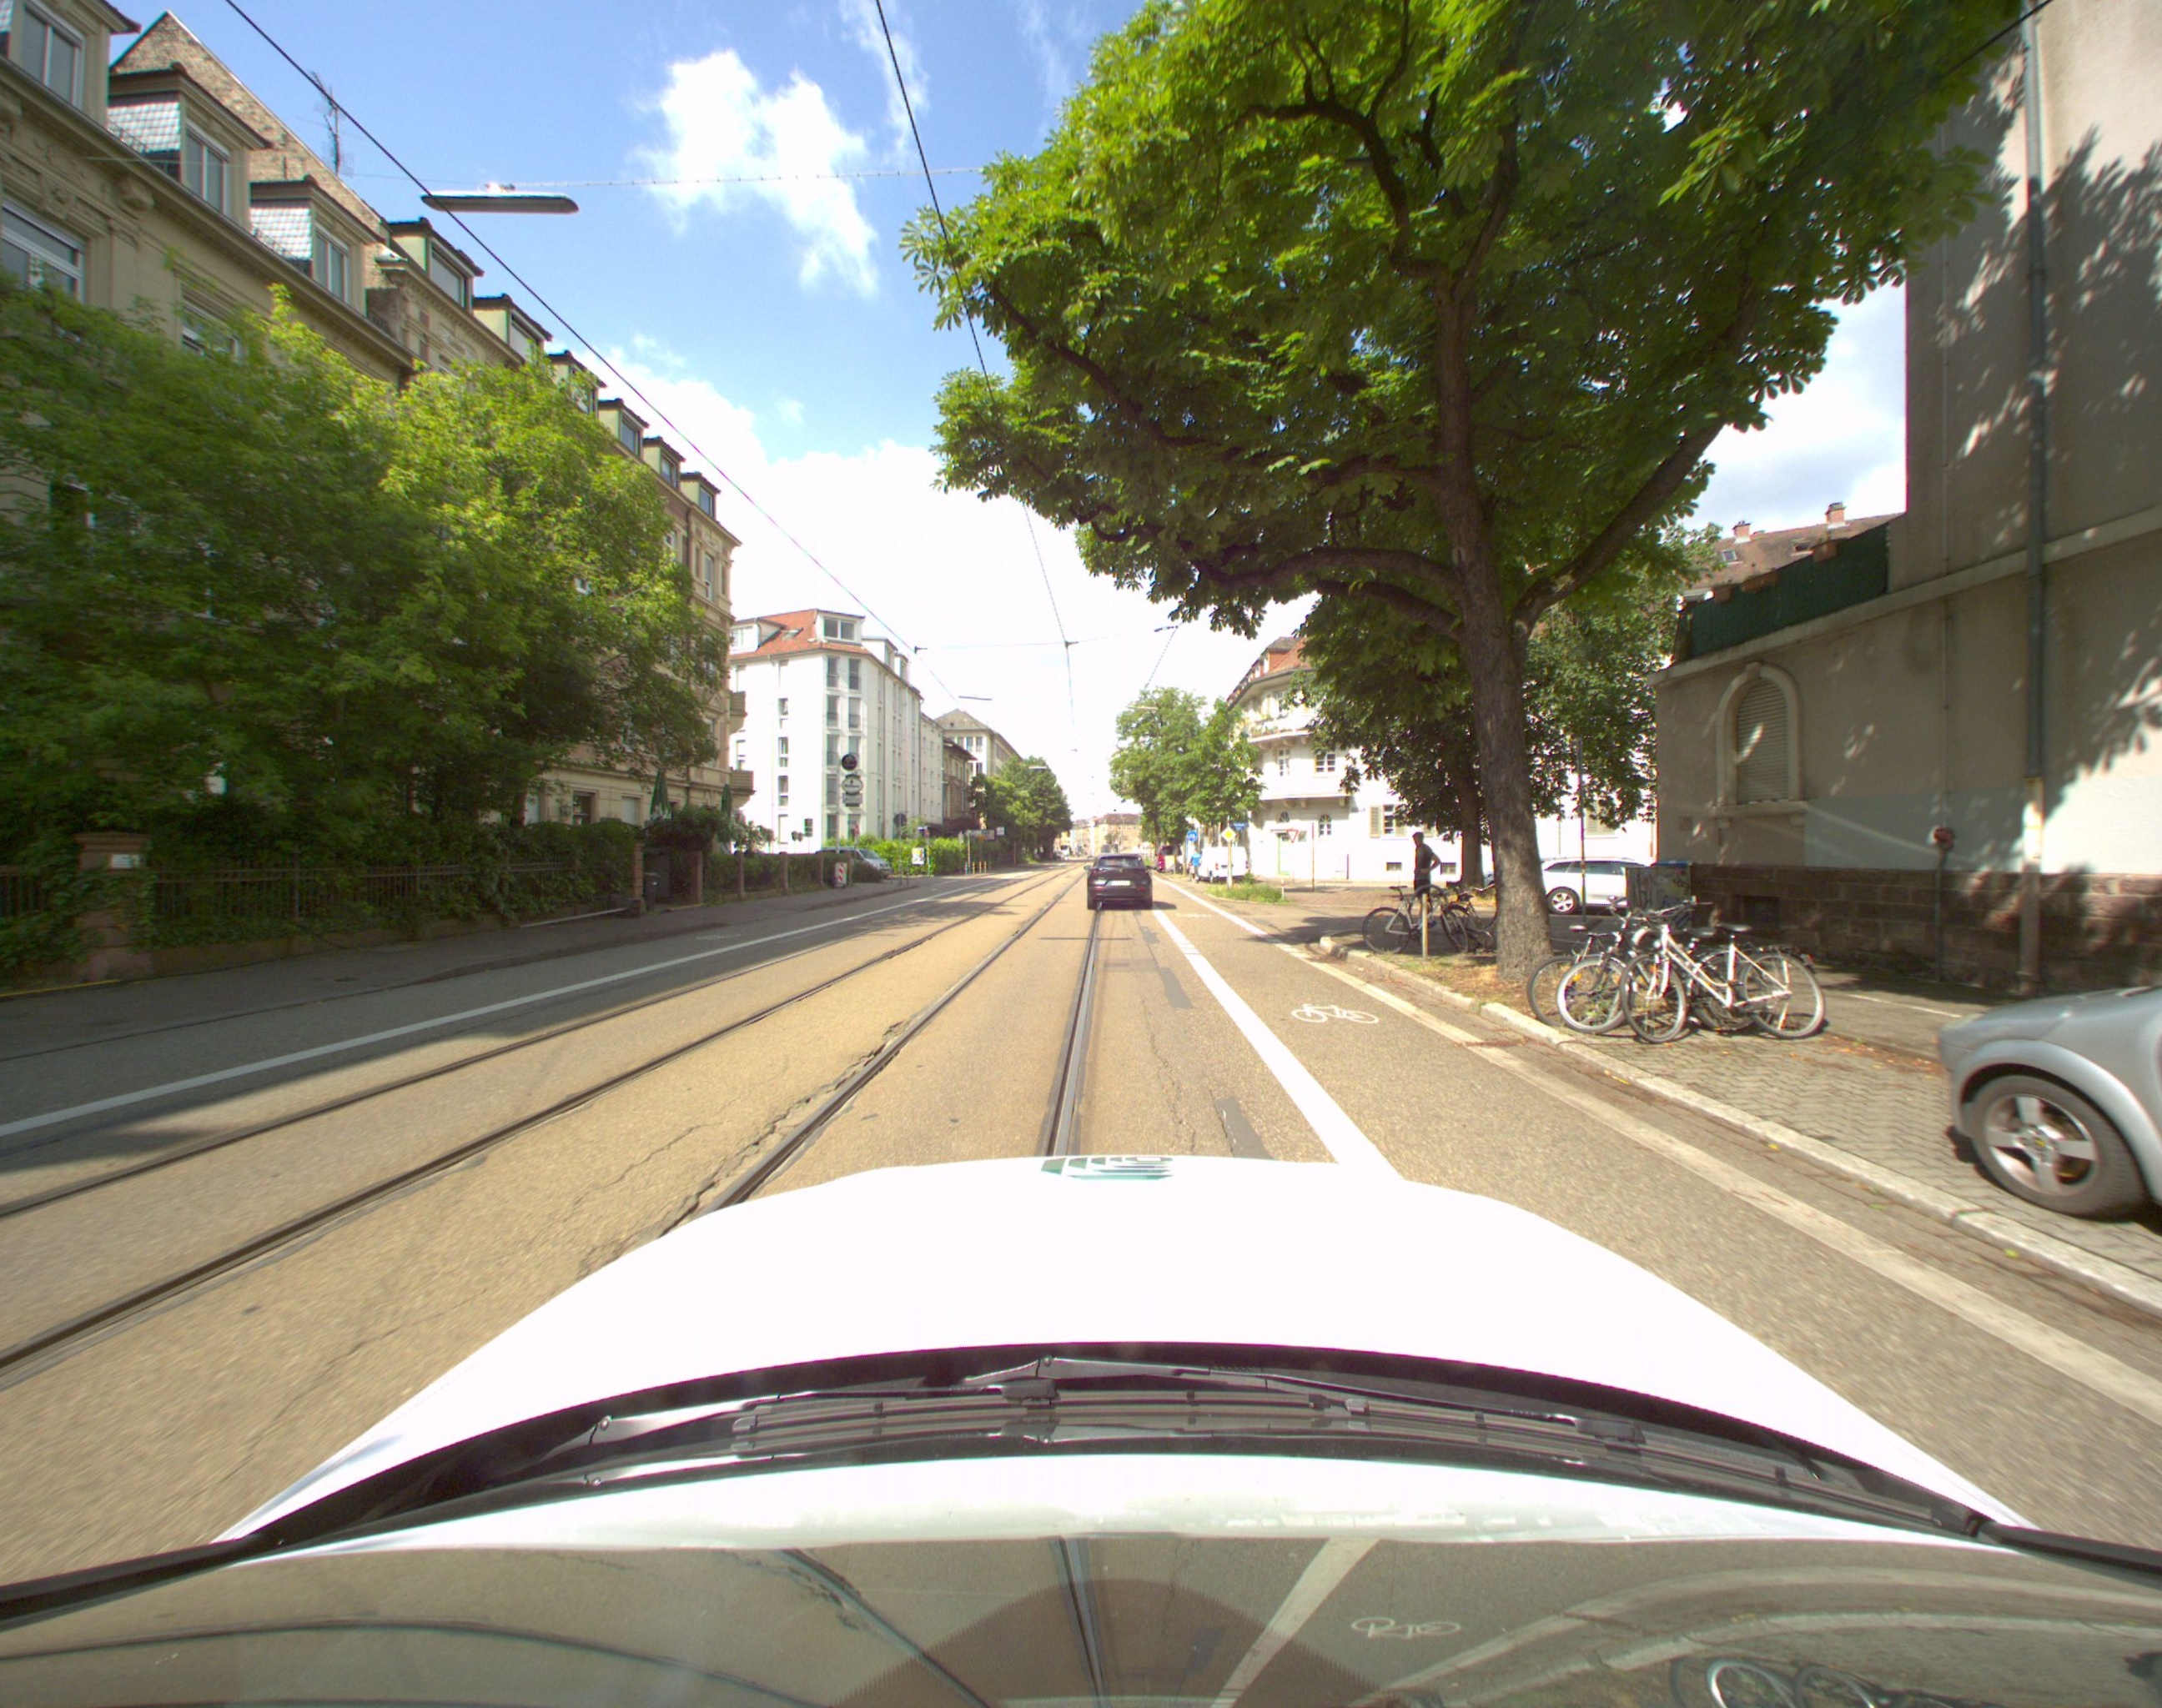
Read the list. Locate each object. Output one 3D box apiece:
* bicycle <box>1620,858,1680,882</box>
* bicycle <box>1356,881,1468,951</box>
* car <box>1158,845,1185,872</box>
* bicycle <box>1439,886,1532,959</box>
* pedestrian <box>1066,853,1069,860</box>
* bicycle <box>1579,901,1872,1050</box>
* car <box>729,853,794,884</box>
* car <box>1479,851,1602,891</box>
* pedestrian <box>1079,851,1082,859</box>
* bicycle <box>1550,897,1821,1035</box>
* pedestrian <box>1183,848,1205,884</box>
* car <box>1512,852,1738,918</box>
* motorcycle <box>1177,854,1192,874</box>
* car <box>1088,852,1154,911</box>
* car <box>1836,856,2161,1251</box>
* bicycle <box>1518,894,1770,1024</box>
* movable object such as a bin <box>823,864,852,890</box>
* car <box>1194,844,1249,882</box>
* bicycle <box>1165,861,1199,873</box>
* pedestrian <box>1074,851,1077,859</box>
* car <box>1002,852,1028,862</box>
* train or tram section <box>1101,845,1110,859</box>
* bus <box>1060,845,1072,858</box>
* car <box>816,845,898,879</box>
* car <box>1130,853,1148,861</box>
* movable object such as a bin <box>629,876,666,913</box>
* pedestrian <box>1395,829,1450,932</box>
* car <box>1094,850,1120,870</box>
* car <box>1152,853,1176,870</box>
[{"bbox_3d":[25.144,0.682,36.002,2.108,1.034,0.539,0,0,23],"label":"bicycle"},{"bbox_3d":[4.777,0.896,11.781,1.485,0.983,0.259,-1,-1,3],"label":"bicycle"},{"bbox_3d":[6.733,0.344,60.895,1.714,1.968,4.210,0,0,2],"label":"car"},{"bbox_3d":[5.713,0.938,11.589,0.258,0.900,1.768,-1,0,-6],"label":"bicycle"},{"bbox_3d":[-2.861,0.571,174.774,0.749,1.510,0.823,0,0,-3],"label":"pedestrian"},{"bbox_3d":[4.894,0.909,6.234,1.896,1.072,0.402,0,0,1],"label":"bicycle"},{"bbox_3d":[-16.670,0.727,42.613,1.377,1.567,3.201,0,0,21],"label":"car"},{"bbox_3d":[17.322,0.622,30.808,3.949,1.411,1.662,0,-1,30],"label":"car"},{"bbox_3d":[-0.133,0.208,199.089,0.882,2.013,0.617,0,0,-2],"label":"pedestrian"},{"bbox_3d":[4.911,0.898,6.665,1.896,1.072,0.402,0,0,1],"label":"bicycle"},{"bbox_3d":[5.932,0.609,42.738,0.807,1.835,0.968,0,0,28],"label":"pedestrian"},{"bbox_3d":[13.333,0.715,20.333,4.516,1.476,1.880,0,-1,29],"label":"car"},{"bbox_3d":[6.800,0.662,53.641,0.791,1.271,2.423,0,0,1],"label":"motorcycle"},{"bbox_3d":[1.092,0.720,23.138,1.714,1.526,3.590,0,0,1],"label":"car"},{"bbox_3d":[4.873,0.757,2.511,1.659,1.430,3.768,-2,0,2],"label":"car"},{"bbox_3d":[4.869,0.895,7.095,1.896,1.072,0.402,0,0,1],"label":"bicycle"},{"bbox_3d":[-9.784,0.907,32.770,0.742,0.988,1.114,2,0,1],"label":"movable object such as a bin"},{"bbox_3d":[7.487,0.462,43.967,1.783,1.938,4.983,0,0,-4],"label":"car"},{"bbox_3d":[7.061,0.923,57.077,2.267,0.861,0.672,0,0,0],"label":"bicycle"},{"bbox_3d":[-1.317,0.259,199.200,0.882,2.013,0.617,0,0,-2],"label":"pedestrian"},{"bbox_3d":[-9.702,0.448,120.567,3.737,1.287,1.609,2,0,-3],"label":"car"},{"bbox_3d":[7.078,-0.503,233.131,2.561,3.772,13.033,0,0,2],"label":"train or tram section"},{"bbox_3d":[-4.068,-0.598,220.815,2.683,3.421,11.001,2,0,-4],"label":"bus"},{"bbox_3d":[-13.926,0.491,50.546,4.621,2.013,2.058,0,0,23],"label":"car"},{"bbox_3d":[13.166,0.707,185.640,3.814,1.618,1.629,2,0,-16],"label":"car"},{"bbox_3d":[-10.670,1.001,20.053,0.560,0.876,0.616,0,0,2],"label":"movable object such as a bin"},{"bbox_3d":[6.323,0.486,15.108,0.608,1.836,0.878,0,-2,-1],"label":"pedestrian"},{"bbox_3d":[2.157,0.476,67.815,1.986,1.529,4.001,2,0,1],"label":"car"},{"bbox_3d":[6.958,0.623,68.691,1.714,1.424,3.590,0,0,1],"label":"car"}]
